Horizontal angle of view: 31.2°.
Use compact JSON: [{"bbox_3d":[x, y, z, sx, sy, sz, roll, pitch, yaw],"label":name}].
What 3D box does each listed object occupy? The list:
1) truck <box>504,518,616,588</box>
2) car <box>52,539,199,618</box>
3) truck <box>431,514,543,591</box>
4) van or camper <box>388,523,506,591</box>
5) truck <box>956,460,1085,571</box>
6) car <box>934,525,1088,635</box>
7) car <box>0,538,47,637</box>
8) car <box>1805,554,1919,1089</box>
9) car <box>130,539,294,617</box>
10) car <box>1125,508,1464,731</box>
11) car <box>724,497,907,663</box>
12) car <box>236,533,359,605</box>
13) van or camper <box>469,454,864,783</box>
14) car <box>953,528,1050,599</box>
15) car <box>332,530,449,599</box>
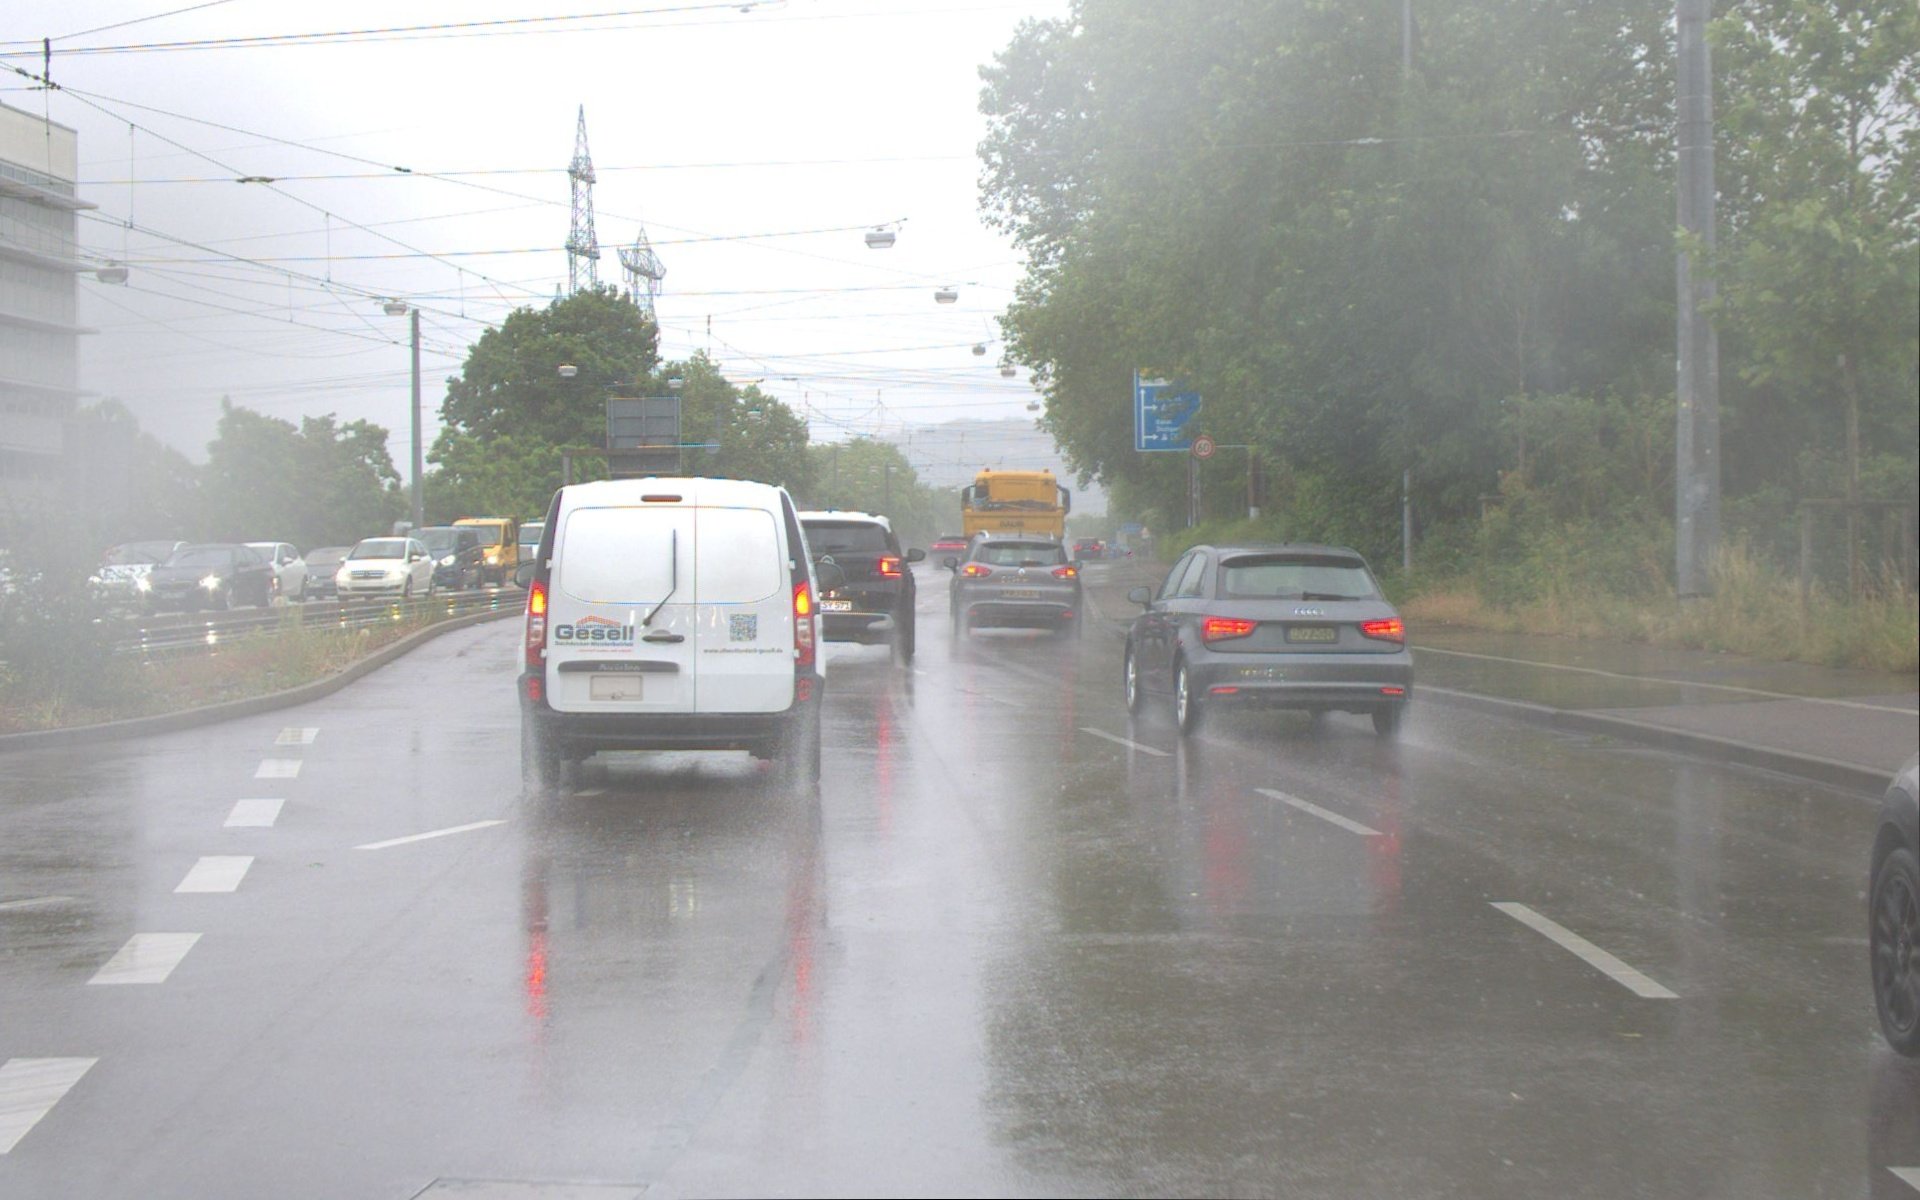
[{"bbox_3d":[-14.590,-1.725,126.001,2.435,2.449,7.217,2,1,7],"label":"truck"},{"bbox_3d":[-18.745,-0.507,77.465,1.907,1.601,4.842,2,2,2],"label":"car"},{"bbox_3d":[-15.875,-1.609,115.718,2.228,2.453,6.065,2,1,7],"label":"truck"},{"bbox_3d":[-15.917,-1.351,106.966,2.305,2.007,5.685,2,1,5],"label":"van or camper"},{"bbox_3d":[1.617,-2.182,88.705,3.113,2.763,6.329,0,1,3],"label":"truck"},{"bbox_3d":[0.657,-0.303,47.334,1.818,1.409,3.779,0,2,-4],"label":"car"},{"bbox_3d":[-16.192,-0.181,54.811,1.713,1.530,4.046,1,2,8],"label":"car"},{"bbox_3d":[3.467,0.633,8.501,1.791,1.409,3.854,1,2,0],"label":"car"},{"bbox_3d":[-15.391,-0.480,71.013,1.923,1.418,5.083,1,2,5],"label":"car"},{"bbox_3d":[2.433,0.085,26.020,1.967,1.523,3.992,0,2,-3],"label":"car"},{"bbox_3d":[-1.574,-0.278,38.176,1.899,1.711,4.726,0,2,-2],"label":"car"},{"bbox_3d":[-17.309,-0.824,90.053,1.994,1.828,4.692,-1,1,4],"label":"car"},{"bbox_3d":[-1.679,0.026,20.978,1.993,1.778,4.000,1,2,1],"label":"van or camper"},{"bbox_3d":[0.890,-0.784,72.266,1.818,1.409,3.778,1,2,4],"label":"car"},{"bbox_3d":[-14.206,-0.906,85.944,1.873,1.568,4.327,1,2,5],"label":"car"}]
